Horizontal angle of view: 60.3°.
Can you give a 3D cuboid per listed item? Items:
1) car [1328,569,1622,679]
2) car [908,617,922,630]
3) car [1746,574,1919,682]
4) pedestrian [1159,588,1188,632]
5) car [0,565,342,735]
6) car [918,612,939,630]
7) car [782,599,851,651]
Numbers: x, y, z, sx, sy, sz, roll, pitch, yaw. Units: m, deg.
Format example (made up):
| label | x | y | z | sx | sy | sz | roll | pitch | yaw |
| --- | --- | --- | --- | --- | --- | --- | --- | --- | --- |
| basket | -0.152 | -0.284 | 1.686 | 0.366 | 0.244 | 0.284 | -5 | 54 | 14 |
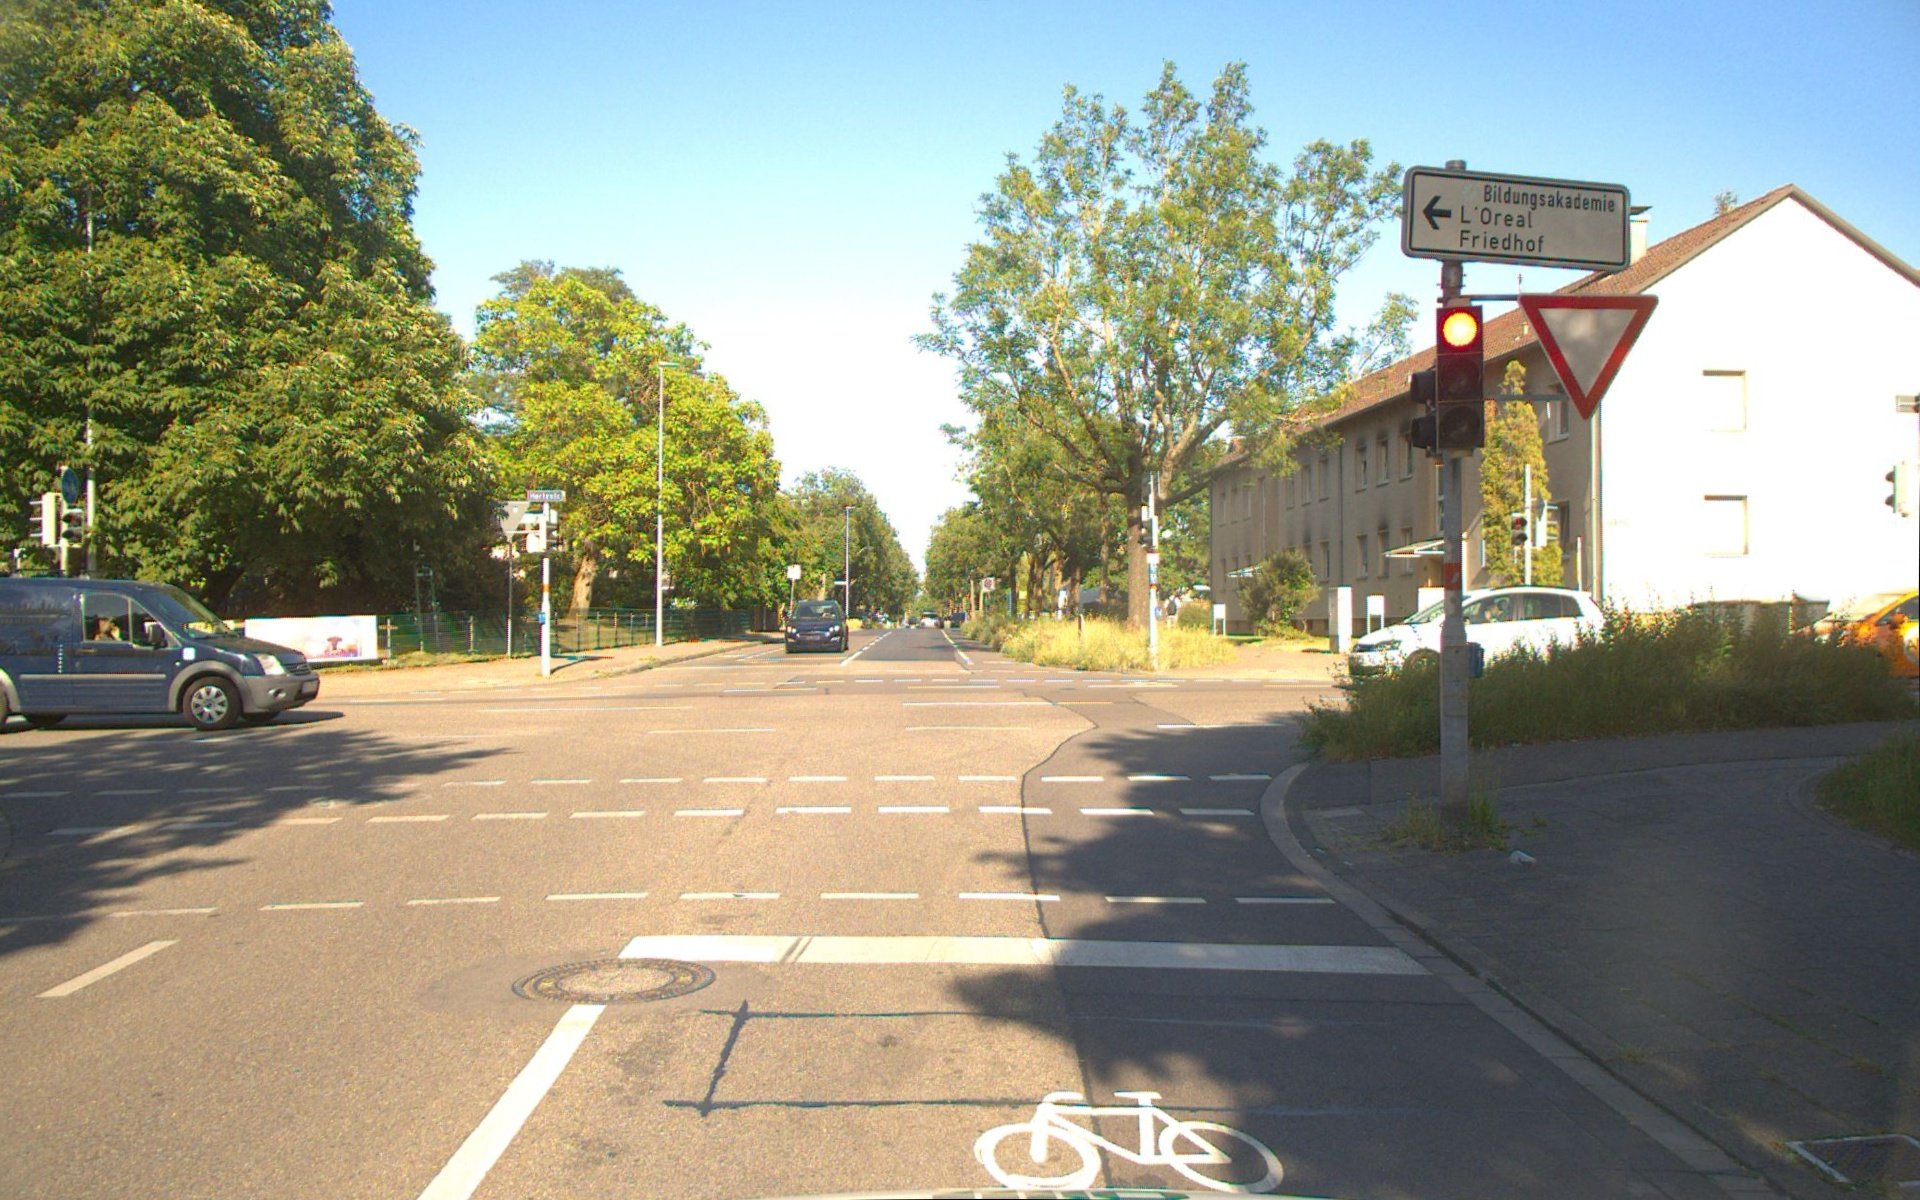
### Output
| label | x | y | z | sx | sy | sz | roll | pitch | yaw |
| --- | --- | --- | --- | --- | --- | --- | --- | --- | --- |
| car | 7.964 | 0.368 | 25.790 | 4.025 | 1.591 | 1.756 | 1 | 0 | -4 |
| car | -5.980 | 3.138 | 220.913 | 1.722 | 1.653 | 3.268 | 0 | 0 | 0 |
| car | 14.725 | 0.452 | 25.999 | 3.906 | 1.610 | 1.757 | 1 | 0 | -1 |
| pedestrian | 7.532 | 0.336 | 58.357 | 0.825 | 1.519 | 0.924 | 2 | 0 | -1 |
| car | -9.963 | 0.573 | 20.032 | 4.260 | 1.920 | 1.858 | -1 | 0 | -5 |
| car | -2.690 | 1.801 | 142.626 | 1.807 | 1.487 | 3.529 | 0 | 0 | -1 |
| car | -4.084 | 0.681 | 47.426 | 1.676 | 1.410 | 3.471 | 0 | 0 | 0 |
